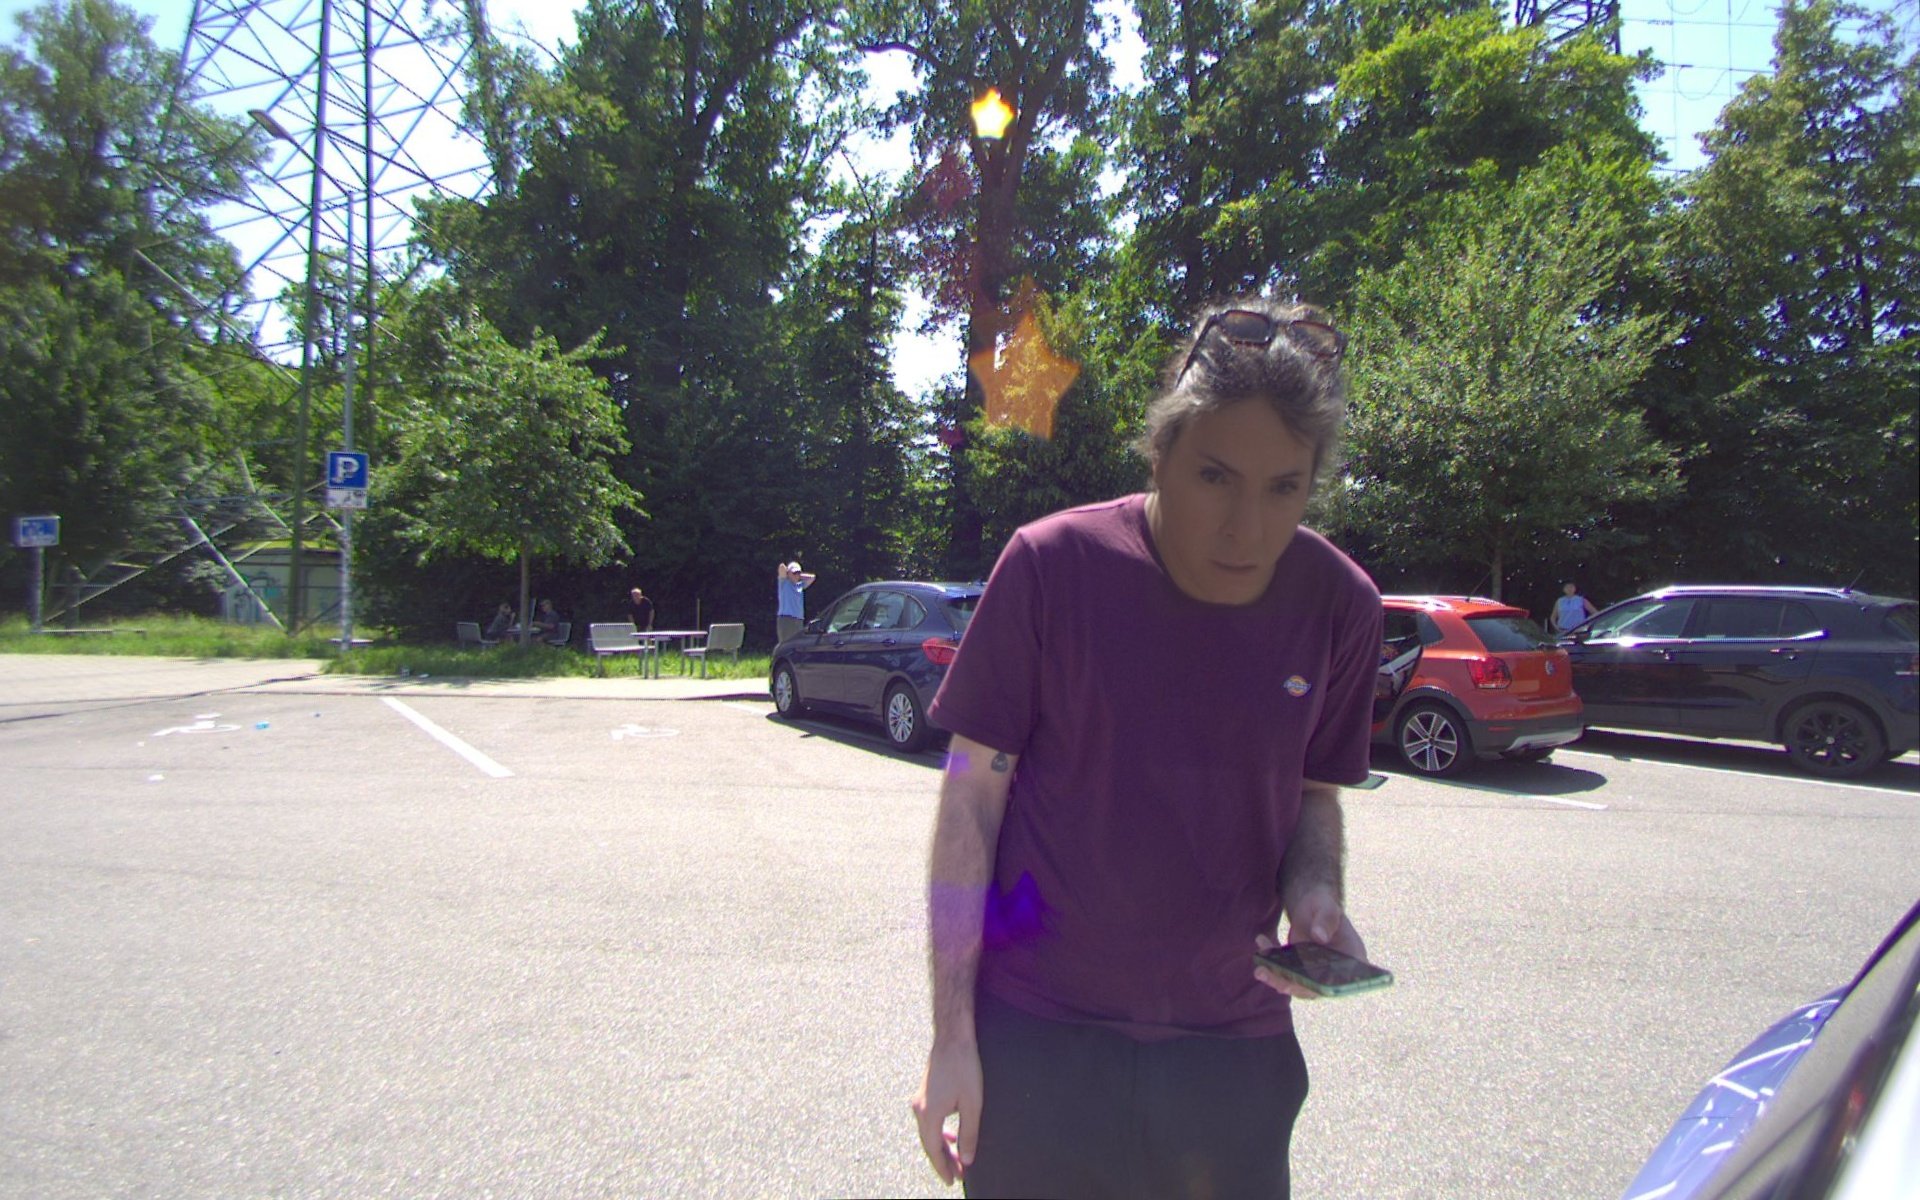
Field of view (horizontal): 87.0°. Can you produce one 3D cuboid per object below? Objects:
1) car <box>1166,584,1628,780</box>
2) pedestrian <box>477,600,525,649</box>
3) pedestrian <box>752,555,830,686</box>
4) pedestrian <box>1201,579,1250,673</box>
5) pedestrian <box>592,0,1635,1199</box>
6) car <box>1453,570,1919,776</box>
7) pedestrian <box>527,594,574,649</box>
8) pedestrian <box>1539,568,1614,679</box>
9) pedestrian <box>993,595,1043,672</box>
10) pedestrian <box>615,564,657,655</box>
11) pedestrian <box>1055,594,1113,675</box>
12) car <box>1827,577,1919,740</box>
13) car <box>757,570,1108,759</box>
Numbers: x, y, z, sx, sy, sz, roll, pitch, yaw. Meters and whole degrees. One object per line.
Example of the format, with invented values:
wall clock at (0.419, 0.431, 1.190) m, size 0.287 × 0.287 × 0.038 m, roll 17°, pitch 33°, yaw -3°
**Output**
car at (3.927, 0.616, 9.648) m, size 1.746 × 1.475 × 3.710 m, roll 1°, pitch 0°, yaw -33°
pedestrian at (-10.356, 0.538, 22.818) m, size 0.796 × 1.062 × 0.714 m, roll 1°, pitch -1°, yaw -43°
pedestrian at (-2.394, 0.284, 14.325) m, size 0.786 × 1.784 × 0.809 m, roll 1°, pitch -1°, yaw -39°
pedestrian at (4.693, 0.444, 17.932) m, size 0.797 × 1.614 × 0.772 m, roll 0°, pitch -1°, yaw 13°
pedestrian at (0.199, 0.444, 1.188) m, size 0.828 × 1.797 × 0.926 m, roll 0°, pitch -1°, yaw 45°
car at (7.208, 0.570, 9.835) m, size 1.807 × 1.612 × 3.967 m, roll 1°, pitch 0°, yaw -38°
pedestrian at (-9.555, 0.499, 23.611) m, size 0.796 × 1.253 × 0.713 m, roll 1°, pitch -1°, yaw -44°
pedestrian at (9.295, 0.349, 15.251) m, size 0.794 × 1.614 × 0.715 m, roll 1°, pitch -1°, yaw -36°
pedestrian at (0.993, 0.564, 17.339) m, size 0.656 × 1.285 × 0.655 m, roll 1°, pitch -1°, yaw -17°
pedestrian at (-6.737, 0.189, 21.083) m, size 0.700 × 1.851 × 0.906 m, roll 1°, pitch -1°, yaw -10°
pedestrian at (2.070, 0.564, 16.950) m, size 0.656 × 1.311 × 0.832 m, roll 1°, pitch -1°, yaw -17°
car at (10.902, 0.594, 9.426) m, size 1.745 × 1.612 × 3.972 m, roll 1°, pitch 0°, yaw -32°
car at (-0.484, 0.539, 10.696) m, size 1.809 × 1.588 × 4.017 m, roll 1°, pitch 0°, yaw -35°
